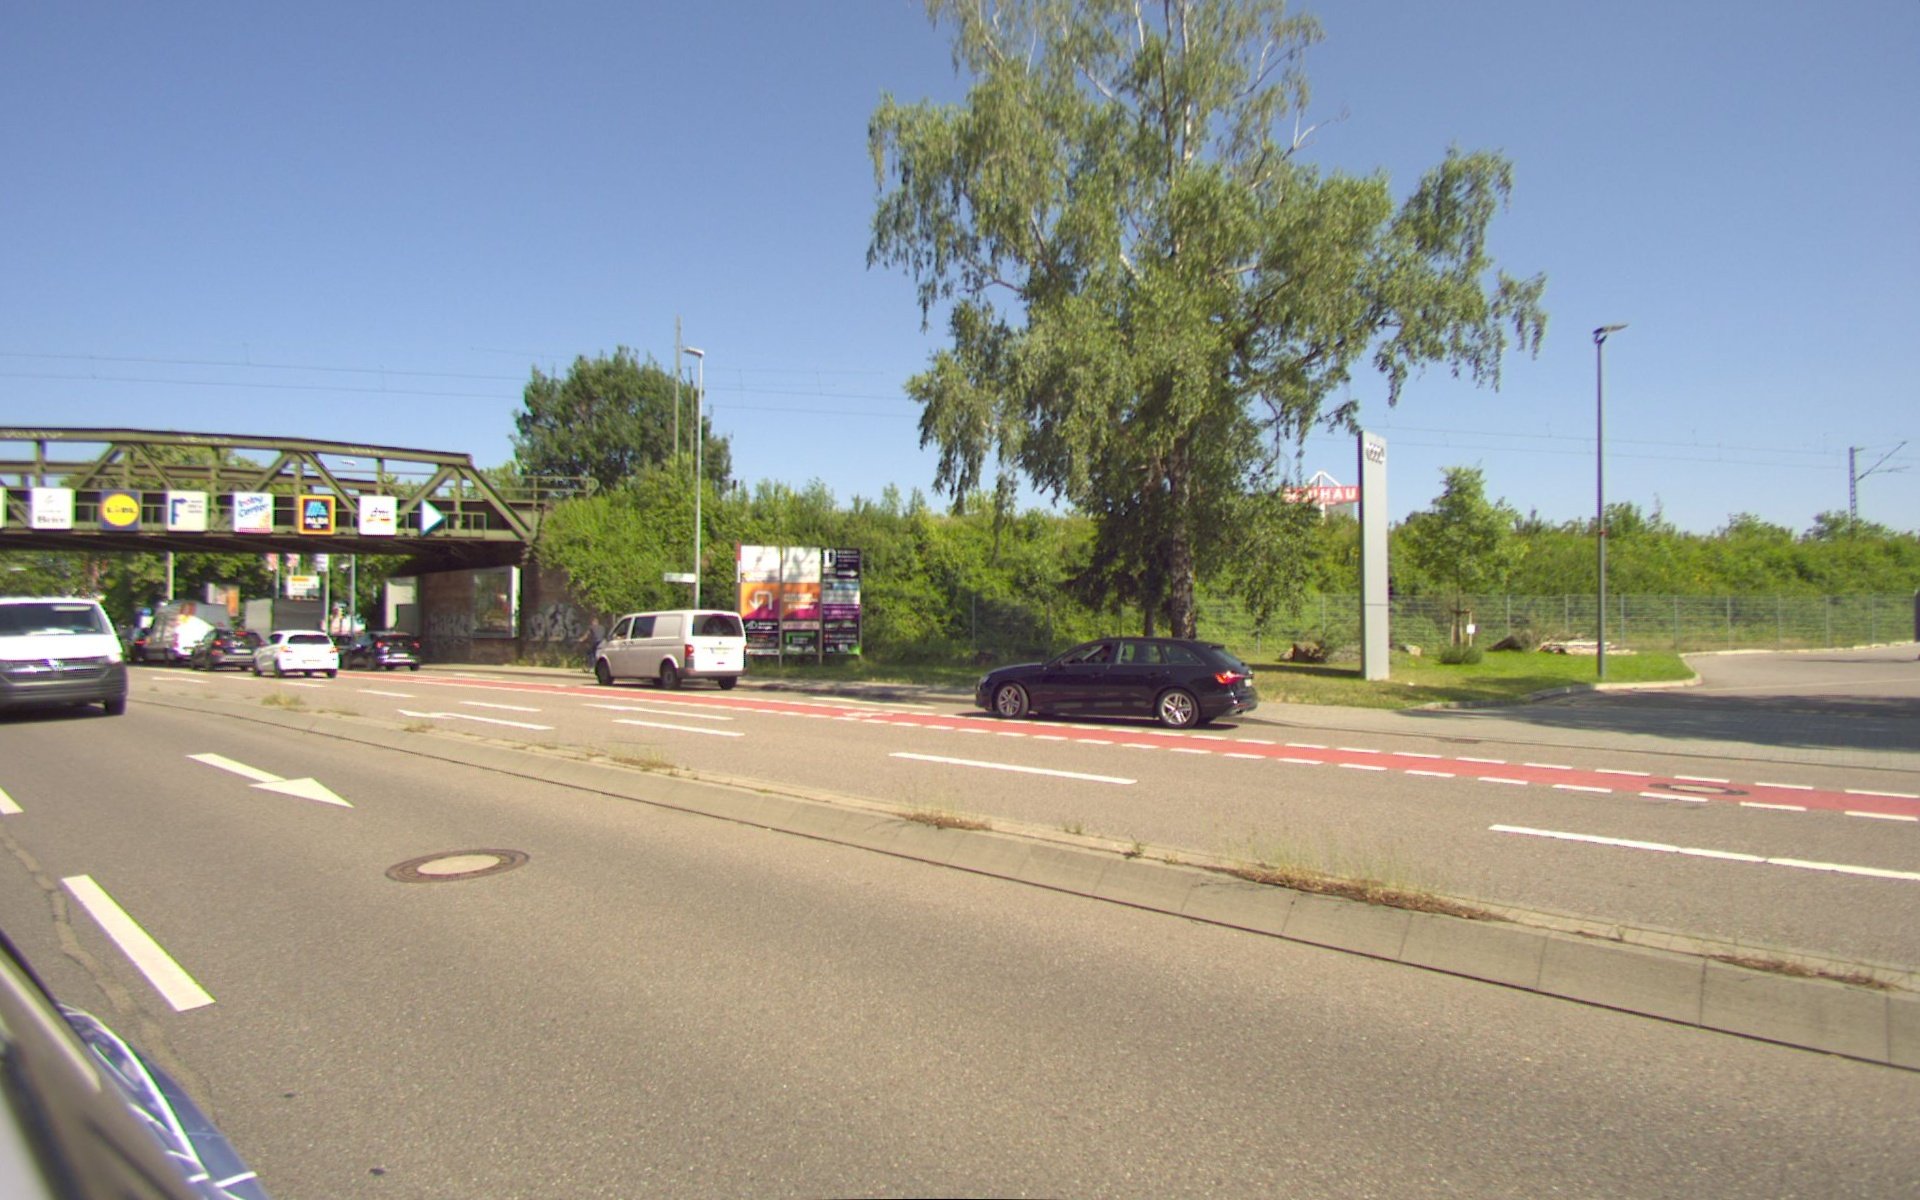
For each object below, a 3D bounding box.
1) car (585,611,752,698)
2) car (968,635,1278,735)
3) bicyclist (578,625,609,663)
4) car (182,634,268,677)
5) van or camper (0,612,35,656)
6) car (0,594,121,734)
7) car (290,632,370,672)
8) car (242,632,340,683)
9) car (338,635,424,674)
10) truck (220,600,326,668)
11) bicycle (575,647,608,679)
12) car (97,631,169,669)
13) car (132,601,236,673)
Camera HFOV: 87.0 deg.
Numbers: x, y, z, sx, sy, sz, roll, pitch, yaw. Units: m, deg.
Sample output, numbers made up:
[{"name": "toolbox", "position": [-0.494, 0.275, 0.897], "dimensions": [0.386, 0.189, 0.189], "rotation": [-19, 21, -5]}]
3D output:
[{"name": "car", "position": [-7.724, 1.380, 26.454], "dimensions": [1.970, 2.029, 5.351], "rotation": [2, -3, -43]}, {"name": "car", "position": [2.644, 1.300, 16.563], "dimensions": [4.657, 1.424, 1.982], "rotation": [-1, -2, 27]}, {"name": "bicyclist", "position": [-12.181, 1.458, 33.635], "dimensions": [0.626, 1.237, 0.951], "rotation": [2, -3, -43]}, {"name": "car", "position": [-27.288, 2.064, 37.533], "dimensions": [4.177, 1.506, 1.749], "rotation": [-3, -5, 42]}, {"name": "van or camper", "position": [-71.146, 2.556, 73.303], "dimensions": [2.596, 3.179, 5.710], "rotation": [-3, -1, 37]}, {"name": "car", "position": [-15.347, 0.996, 16.629], "dimensions": [4.976, 2.009, 1.860], "rotation": [-2, -3, 44]}, {"name": "car", "position": [-28.488, 2.377, 45.713], "dimensions": [4.287, 1.703, 1.962], "rotation": [-3, -5, 42]}, {"name": "car", "position": [-21.248, 1.834, 32.106], "dimensions": [3.827, 1.506, 1.625], "rotation": [-3, -5, 41]}, {"name": "car", "position": [-23.168, 2.196, 40.461], "dimensions": [4.177, 1.506, 1.749], "rotation": [-3, -5, 42]}, {"name": "truck", "position": [-33.734, 1.652, 49.607], "dimensions": [7.062, 3.112, 2.318], "rotation": [-2, -2, 39]}, {"name": "bicycle", "position": [-12.345, 2.090, 33.877], "dimensions": [0.440, 1.035, 1.617], "rotation": [2, -3, -43]}, {"name": "car", "position": [-39.567, 2.349, 48.386], "dimensions": [4.950, 1.694, 1.972], "rotation": [-2, -3, 43]}, {"name": "car", "position": [-32.764, 1.582, 42.633], "dimensions": [6.933, 2.827, 1.973], "rotation": [-2, -5, 41]}]
